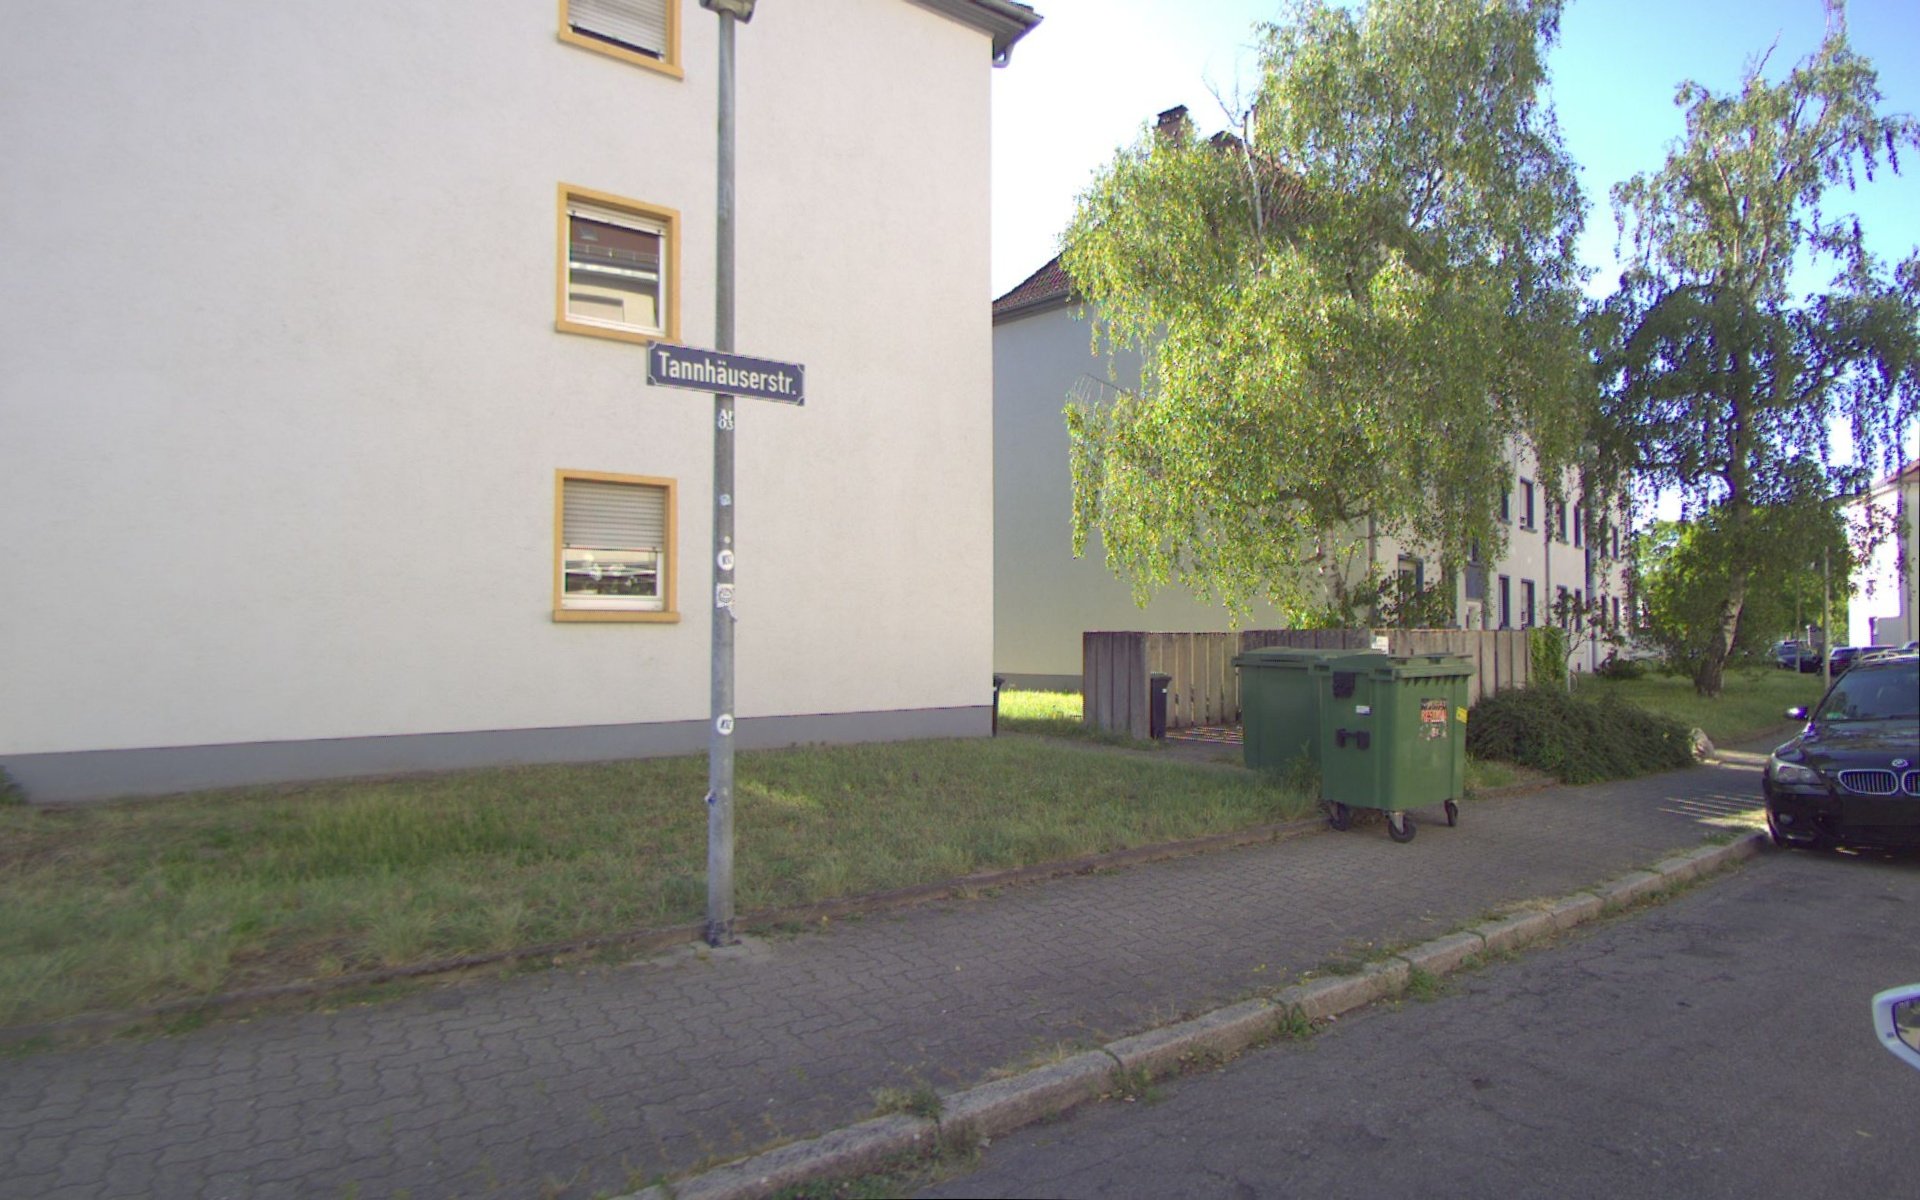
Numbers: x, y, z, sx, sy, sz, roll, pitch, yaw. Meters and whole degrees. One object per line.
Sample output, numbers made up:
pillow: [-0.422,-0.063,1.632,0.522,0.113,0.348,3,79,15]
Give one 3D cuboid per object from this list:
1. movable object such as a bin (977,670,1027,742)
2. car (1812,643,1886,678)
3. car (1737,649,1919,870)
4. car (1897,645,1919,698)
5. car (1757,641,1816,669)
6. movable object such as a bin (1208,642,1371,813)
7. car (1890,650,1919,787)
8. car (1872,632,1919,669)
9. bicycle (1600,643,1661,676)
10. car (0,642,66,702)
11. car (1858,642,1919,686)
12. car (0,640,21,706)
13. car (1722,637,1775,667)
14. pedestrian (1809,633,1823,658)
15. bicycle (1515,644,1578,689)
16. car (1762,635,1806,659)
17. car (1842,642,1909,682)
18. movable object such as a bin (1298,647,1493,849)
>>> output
movable object such as a bin: [0.580,1.458,13.926,0.476,0.944,0.550,1,-1,-30]
car: [40.461,2.750,45.797,1.719,1.449,4.587,-4,-5,32]
car: [8.144,1.137,8.240,4.579,1.471,1.666,2,-6,-38]
car: [30.388,2.166,31.000,1.673,1.407,4.140,-3,-2,37]
car: [45.427,3.012,55.285,1.633,1.462,3.867,-3,-4,27]
movable object such as a bin: [2.949,1.091,9.080,0.758,1.398,1.214,1,-2,-30]
car: [12.307,1.287,11.733,4.248,1.461,1.664,2,-6,-42]
car: [50.394,2.690,53.251,1.867,1.879,4.340,-1,-4,26]
bicycle: [25.221,2.222,37.798,0.564,1.092,1.803,2,0,-43]
car: [-28.292,2.158,30.033,1.766,1.678,3.536,1,-4,-33]
car: [34.365,2.304,36.812,1.548,1.483,4.249,-3,-3,34]
car: [-25.490,1.884,25.499,1.766,1.678,3.536,1,-4,-33]
car: [50.454,3.332,64.373,1.868,1.879,4.190,-1,-4,27]
pedestrian: [64.940,3.474,76.205,0.646,1.839,0.612,-3,-4,38]
bicycle: [15.581,1.763,26.702,1.392,1.167,0.413,-3,-3,40]
car: [62.915,3.630,76.778,1.739,1.762,4.089,-3,-4,28]
car: [37.603,2.541,41.344,1.459,1.496,3.620,-6,-6,35]
movable object such as a bin: [3.385,1.071,7.794,1.403,1.411,0.771,2,-3,-35]
